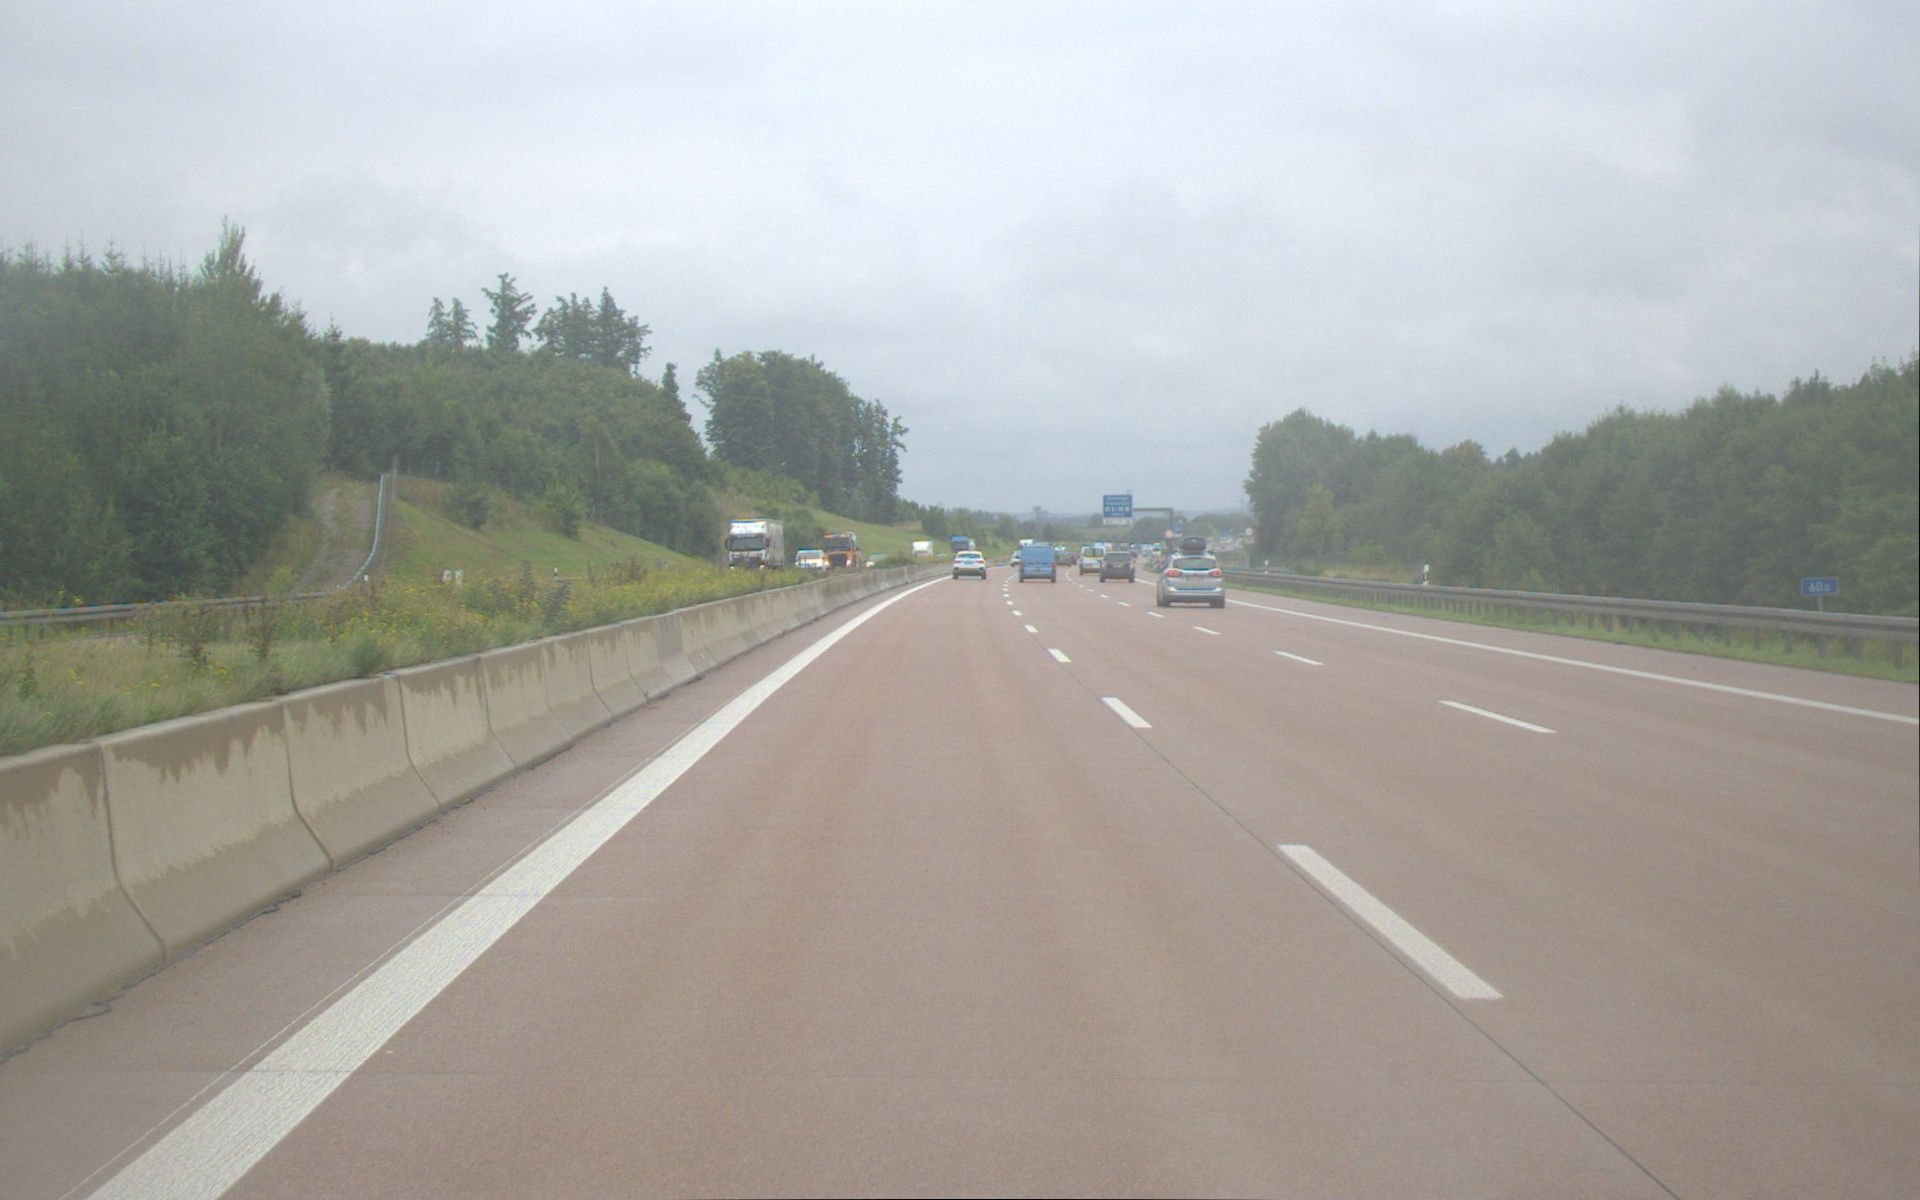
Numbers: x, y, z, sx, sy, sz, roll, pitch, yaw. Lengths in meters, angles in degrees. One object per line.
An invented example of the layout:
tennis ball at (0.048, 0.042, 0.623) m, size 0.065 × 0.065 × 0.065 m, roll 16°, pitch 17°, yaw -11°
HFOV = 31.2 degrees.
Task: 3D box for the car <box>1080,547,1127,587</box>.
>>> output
car at (7.539, -1.714, 180.729) m, size 1.993 × 2.007 × 4.000 m, roll 1°, pitch 0°, yaw -4°

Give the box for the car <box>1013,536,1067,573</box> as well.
car at (4.069, -2.304, 175.668) m, size 2.322 × 1.744 × 4.877 m, roll 1°, pitch 0°, yaw -4°

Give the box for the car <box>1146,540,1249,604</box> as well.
car at (6.873, -0.789, 99.999) m, size 2.322 × 1.744 × 4.877 m, roll 1°, pitch 0°, yaw -4°

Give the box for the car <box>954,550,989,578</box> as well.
car at (0.608, -1.975, 190.955) m, size 1.874 × 1.439 × 4.877 m, roll 1°, pitch 0°, yaw 0°
